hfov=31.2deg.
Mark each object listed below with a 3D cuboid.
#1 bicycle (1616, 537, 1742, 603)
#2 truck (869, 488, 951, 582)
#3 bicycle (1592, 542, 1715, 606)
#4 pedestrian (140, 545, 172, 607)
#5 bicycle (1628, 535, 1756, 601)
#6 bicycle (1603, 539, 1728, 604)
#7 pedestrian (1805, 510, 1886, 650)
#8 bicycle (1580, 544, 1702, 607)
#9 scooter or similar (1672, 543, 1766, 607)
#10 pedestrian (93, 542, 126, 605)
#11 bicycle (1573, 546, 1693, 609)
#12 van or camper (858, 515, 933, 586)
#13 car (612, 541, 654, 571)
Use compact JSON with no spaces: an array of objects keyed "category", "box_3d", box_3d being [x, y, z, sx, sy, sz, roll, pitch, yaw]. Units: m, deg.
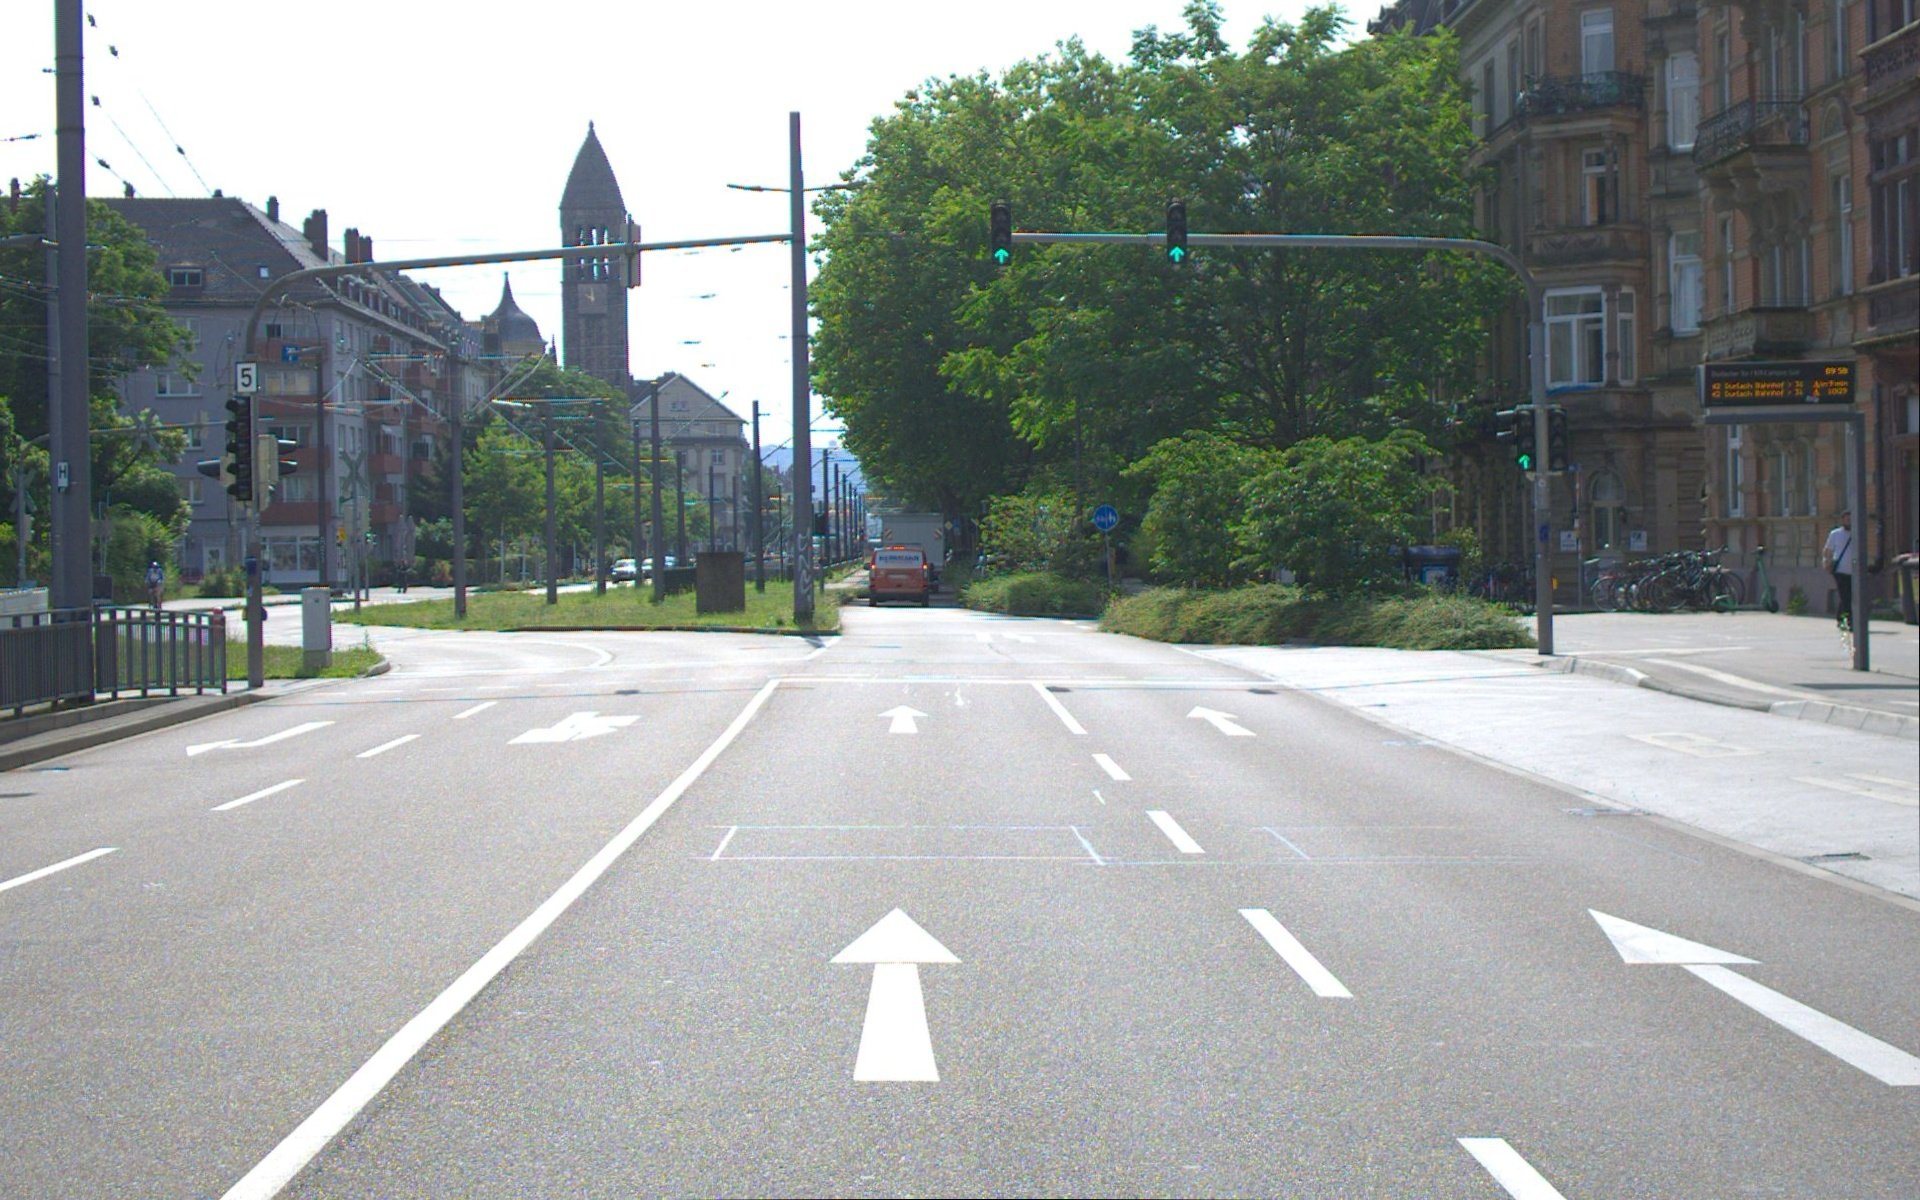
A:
[{"category":"bicycle","box_3d":[13.452,-0.565,64.364,2.189,1.177,0.684,-1,1,-5]},{"category":"truck","box_3d":[-1.943,-2.553,137.729,3.170,3.275,7.295,0,-3,0]},{"category":"bicycle","box_3d":[13.257,-0.506,65.717,2.189,1.177,0.684,-1,1,-5]},{"category":"pedestrian","box_3d":[-26.531,-0.786,113.397,0.805,2.007,0.915,1,-3,-1]},{"category":"bicycle","box_3d":[13.535,-0.598,63.599,2.189,1.177,0.684,-1,1,-5]},{"category":"bicycle","box_3d":[13.337,-0.537,65.011,2.189,1.177,0.684,-1,1,-5]},{"category":"pedestrian","box_3d":[12.878,-0.291,50.024,0.886,2.007,0.996,1,0,-1]},{"category":"bicycle","box_3d":[13.166,-0.473,66.453,2.189,1.177,0.684,-1,1,-5]},{"category":"scooter or similar","box_3d":[13.494,-0.445,61.114,1.565,1.094,0.451,-1,1,3]},{"category":"pedestrian","box_3d":[-27.830,-0.851,112.544,0.805,2.007,0.915,1,-3,-1]},{"category":"bicycle","box_3d":[13.134,-0.443,67.133,2.189,1.177,0.684,-1,1,-5]},{"category":"van or camper","box_3d":[-2.042,-1.535,107.615,2.008,1.908,4.523,1,-3,-5]},{"category":"car","box_3d":[-20.136,-2.740,211.824,1.994,1.787,4.000,-1,1,2]}]
